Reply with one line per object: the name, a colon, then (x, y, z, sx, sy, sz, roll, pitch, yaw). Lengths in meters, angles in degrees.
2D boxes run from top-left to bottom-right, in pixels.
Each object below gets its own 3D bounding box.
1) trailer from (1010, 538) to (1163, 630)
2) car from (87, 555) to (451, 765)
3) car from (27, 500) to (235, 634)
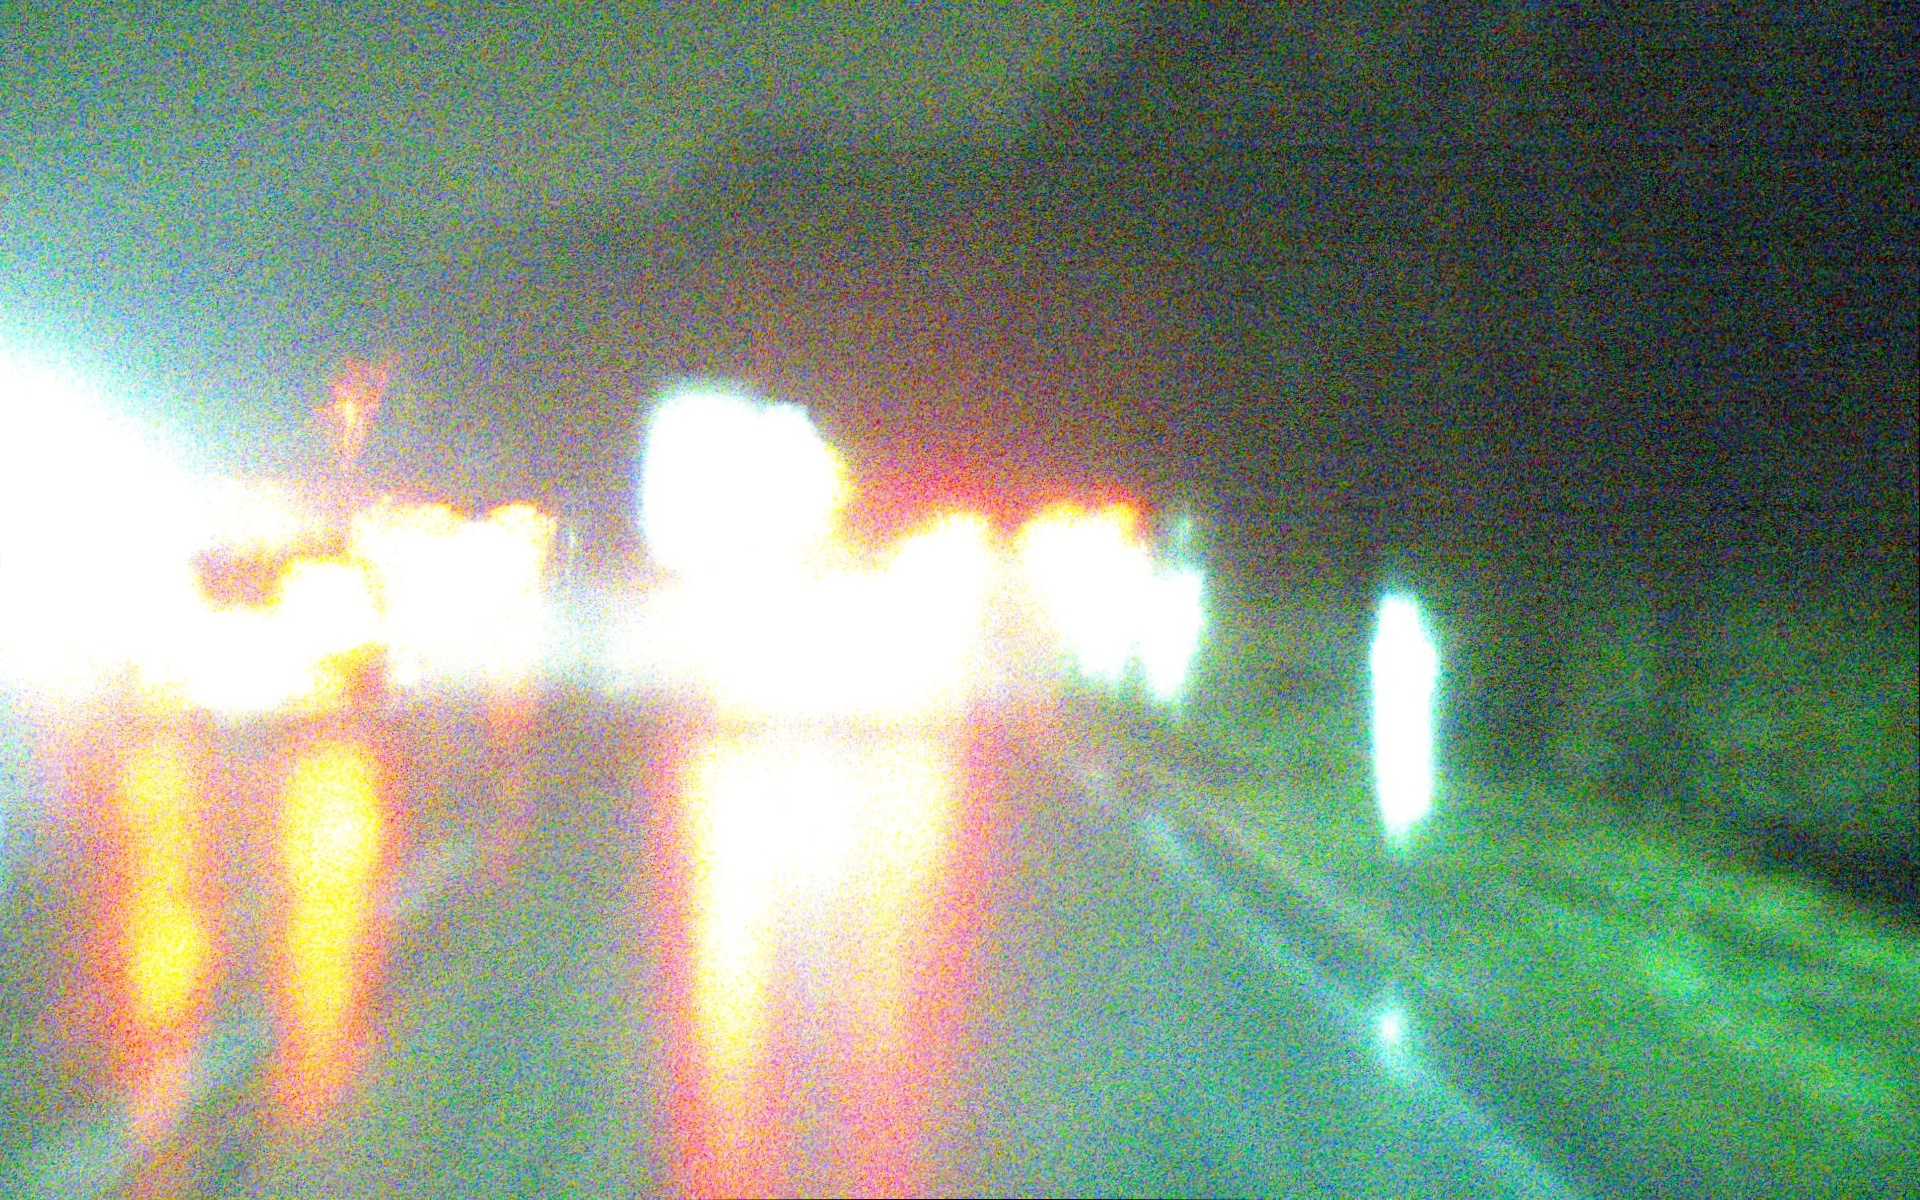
trailer: (3.116, -0.360, 81.766, 2.079, 2.007, 10.642, 1, 0, 10)
car: (-5.016, 0.401, 25.491, 1.962, 1.376, 4.049, 2, 0, -2)
car: (-10.058, -0.417, 42.009, 1.767, 1.512, 4.916, 1, 1, -5)
